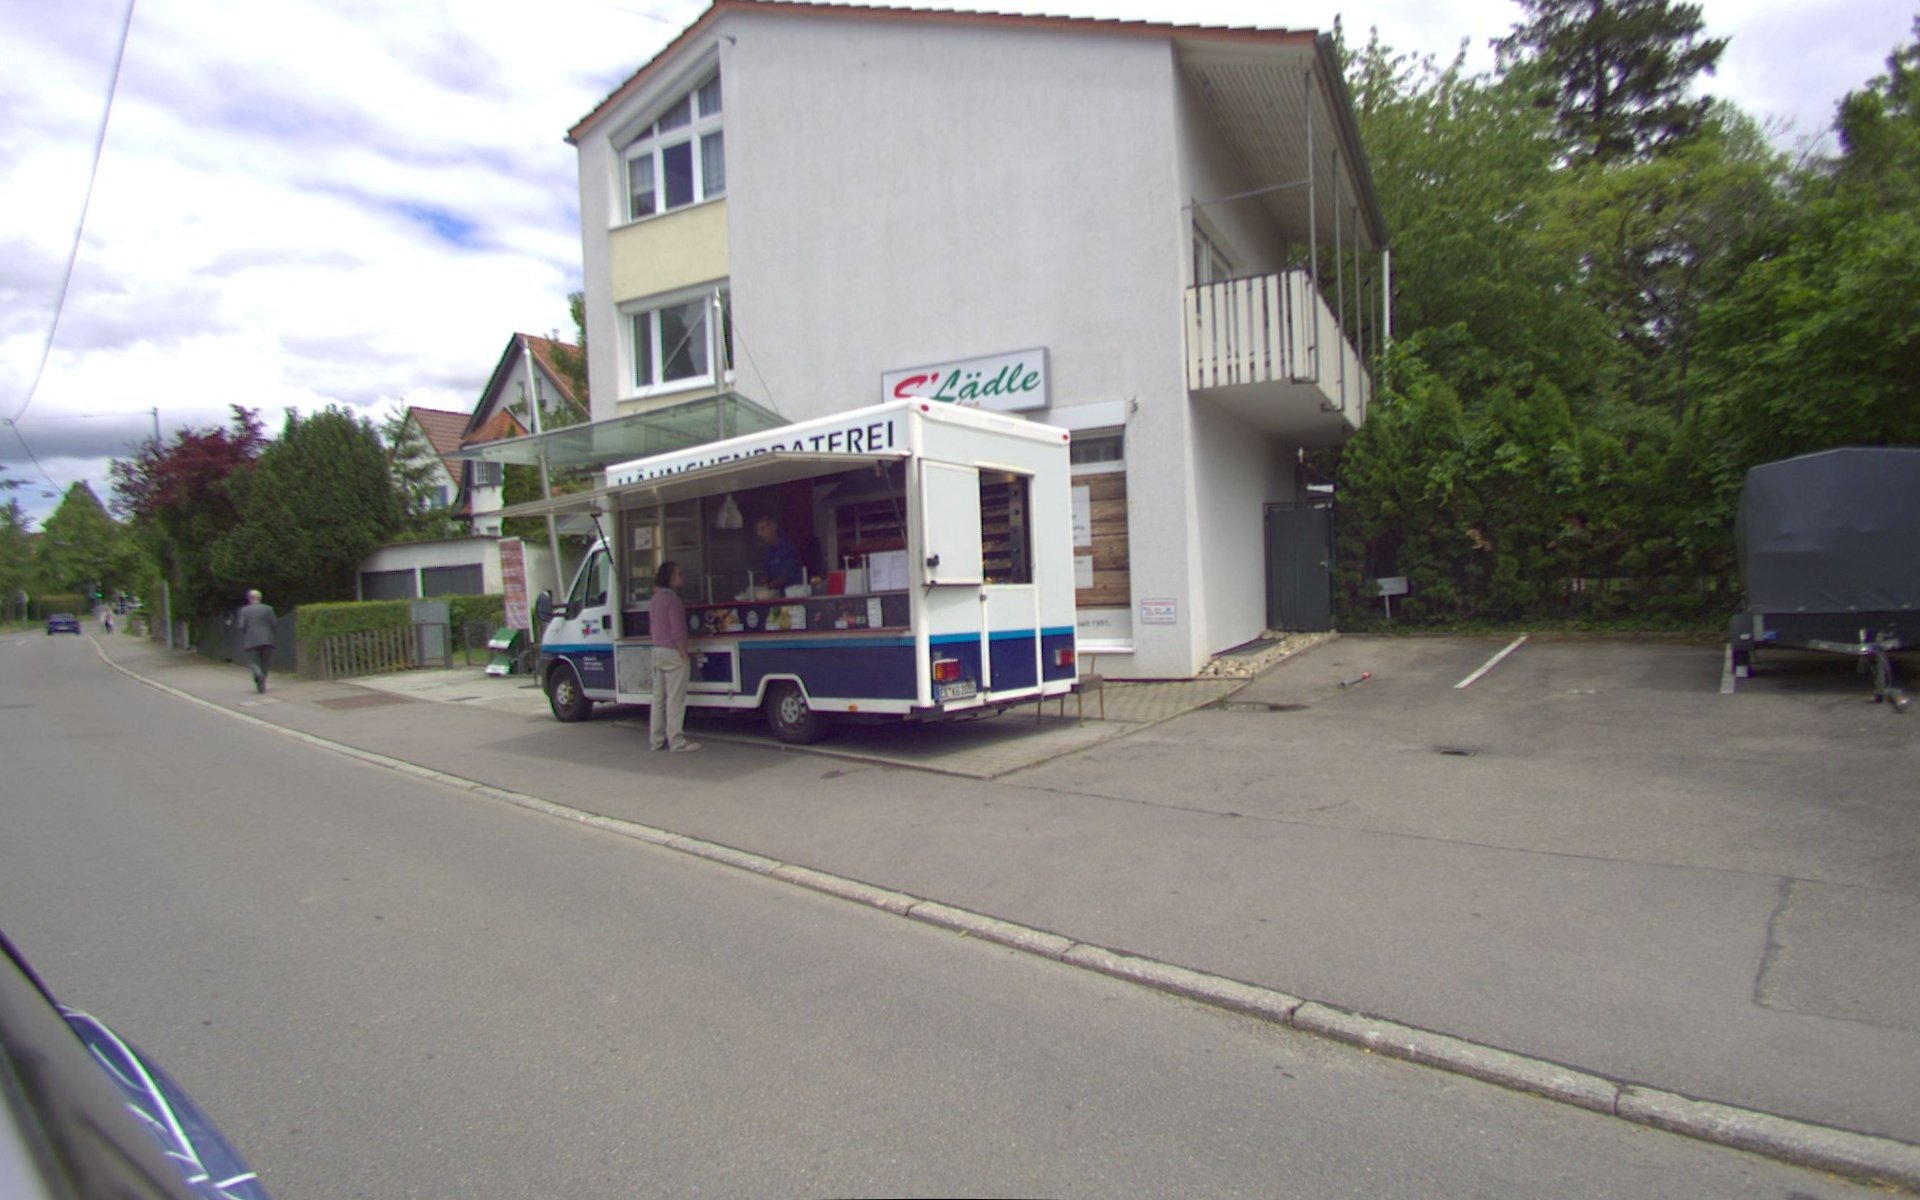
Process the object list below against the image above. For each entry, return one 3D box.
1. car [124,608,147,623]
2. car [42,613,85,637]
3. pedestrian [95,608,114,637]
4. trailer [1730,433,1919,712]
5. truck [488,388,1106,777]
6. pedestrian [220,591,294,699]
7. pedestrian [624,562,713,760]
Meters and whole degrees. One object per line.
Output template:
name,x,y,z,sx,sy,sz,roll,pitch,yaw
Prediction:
car,-95.308,1.801,117.001,1.818,1.668,4.143,1,-1,-43
car,-62.559,1.713,70.682,1.671,1.442,3.938,-4,2,-34
pedestrian,-54.198,1.417,64.097,0.809,1.757,0.605,-5,3,-40
trailer,8.499,-0.358,9.669,1.701,2.095,4.817,-4,2,38
truck,-2.049,-0.117,10.514,6.701,2.861,2.449,-1,1,39
pedestrian,-11.723,0.719,16.874,1.110,1.699,0.715,1,4,44
pedestrian,-2.623,0.531,9.102,0.597,1.707,0.397,-1,3,39
